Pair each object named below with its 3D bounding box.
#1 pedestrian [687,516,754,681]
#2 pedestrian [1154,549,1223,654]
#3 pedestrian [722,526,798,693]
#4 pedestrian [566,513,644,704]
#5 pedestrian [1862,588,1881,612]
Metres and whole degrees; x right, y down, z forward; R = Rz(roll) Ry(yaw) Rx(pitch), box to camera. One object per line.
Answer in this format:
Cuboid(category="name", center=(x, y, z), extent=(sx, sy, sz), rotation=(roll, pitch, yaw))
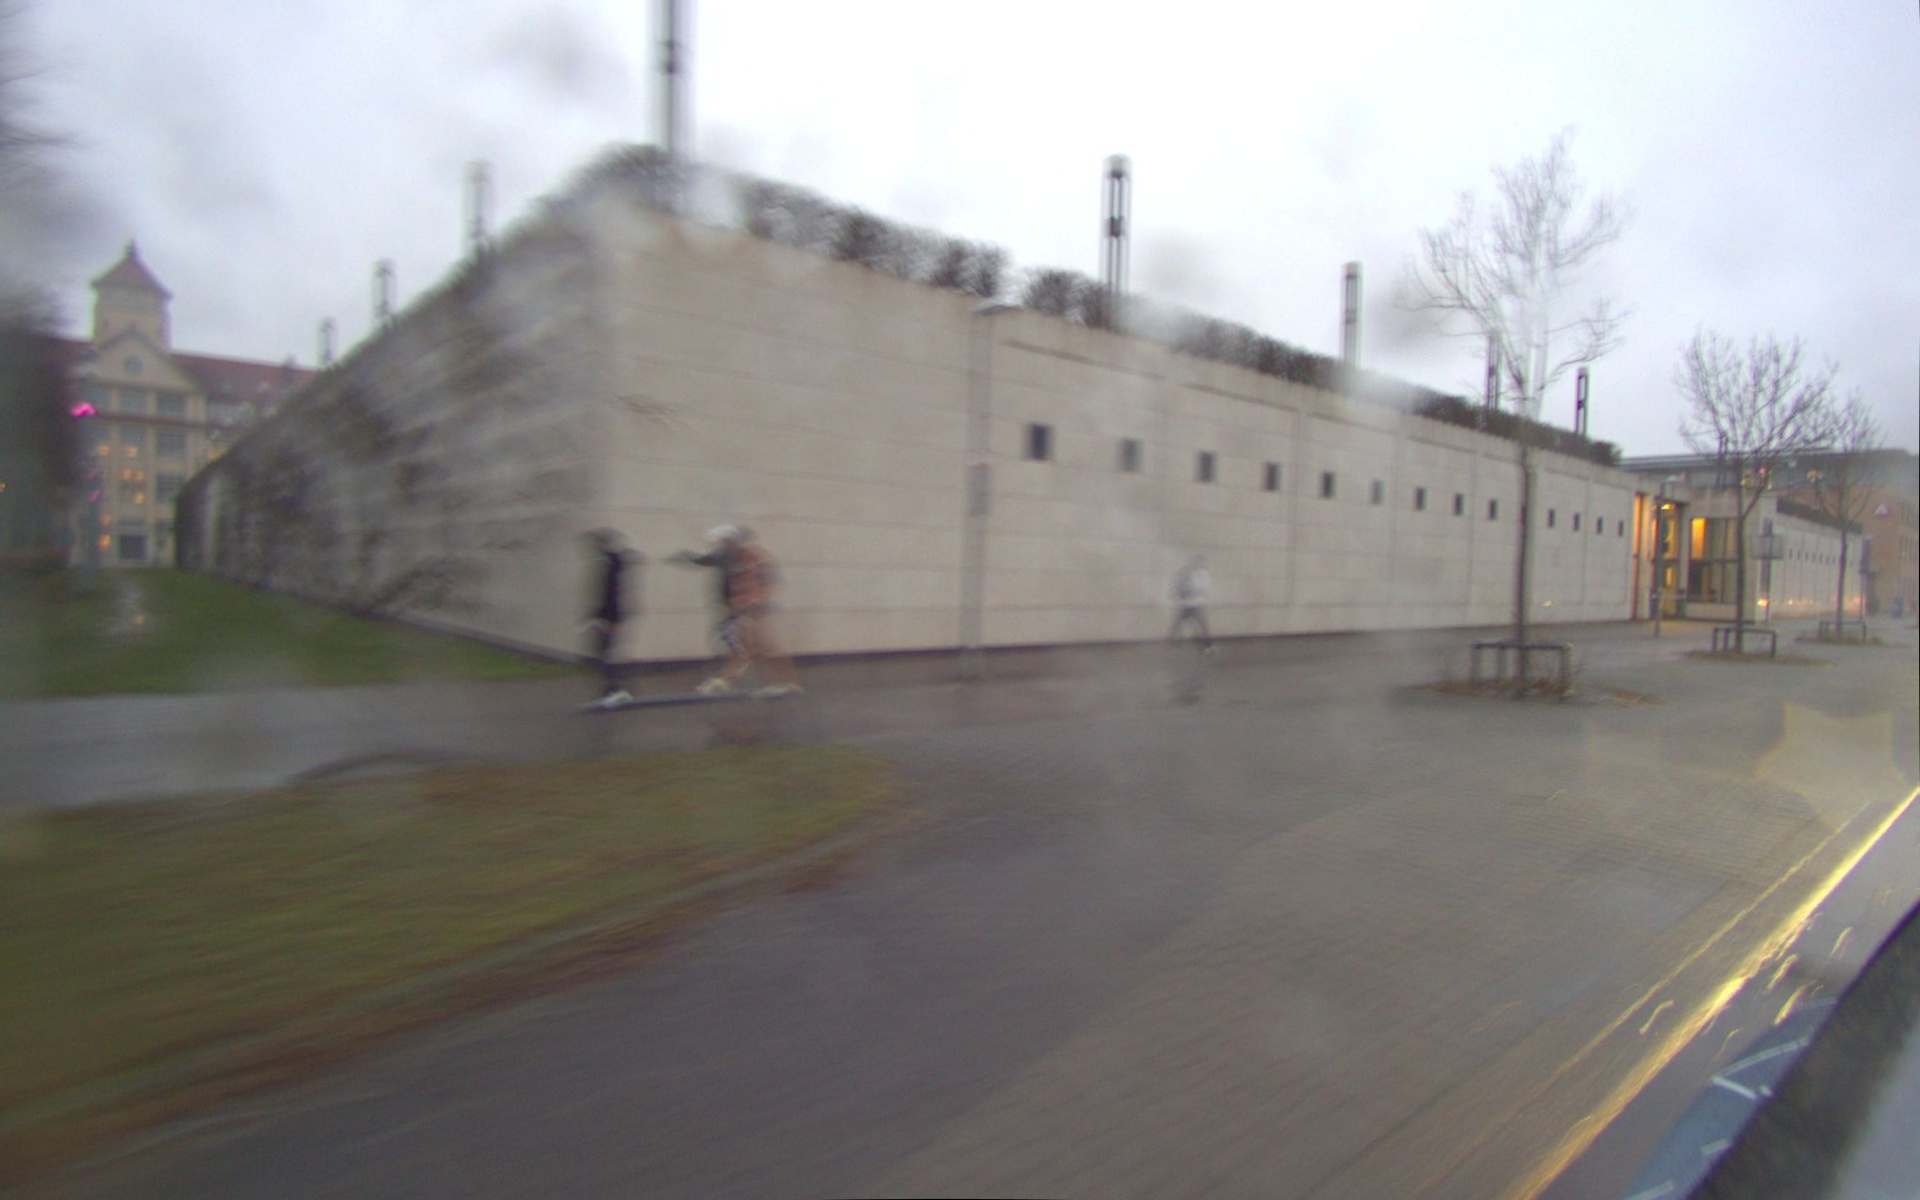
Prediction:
Cuboid(category="pedestrian", center=(-2.732, -0.022, 11.531), extent=(0.602, 1.800, 0.676), rotation=(0, 0, -27))
Cuboid(category="pedestrian", center=(3.790, 0.006, 16.746), extent=(0.667, 1.675, 0.979), rotation=(3, 3, 44))
Cuboid(category="pedestrian", center=(-2.045, 0.091, 10.333), extent=(0.602, 1.632, 0.676), rotation=(0, 0, -27))
Cuboid(category="pedestrian", center=(-3.214, 0.066, 9.143), extent=(0.601, 1.645, 0.676), rotation=(0, 0, -25))
Cuboid(category="pedestrian", center=(63.950, -0.028, 71.001), extent=(0.868, 1.650, 0.813), rotation=(0, 4, -41))
